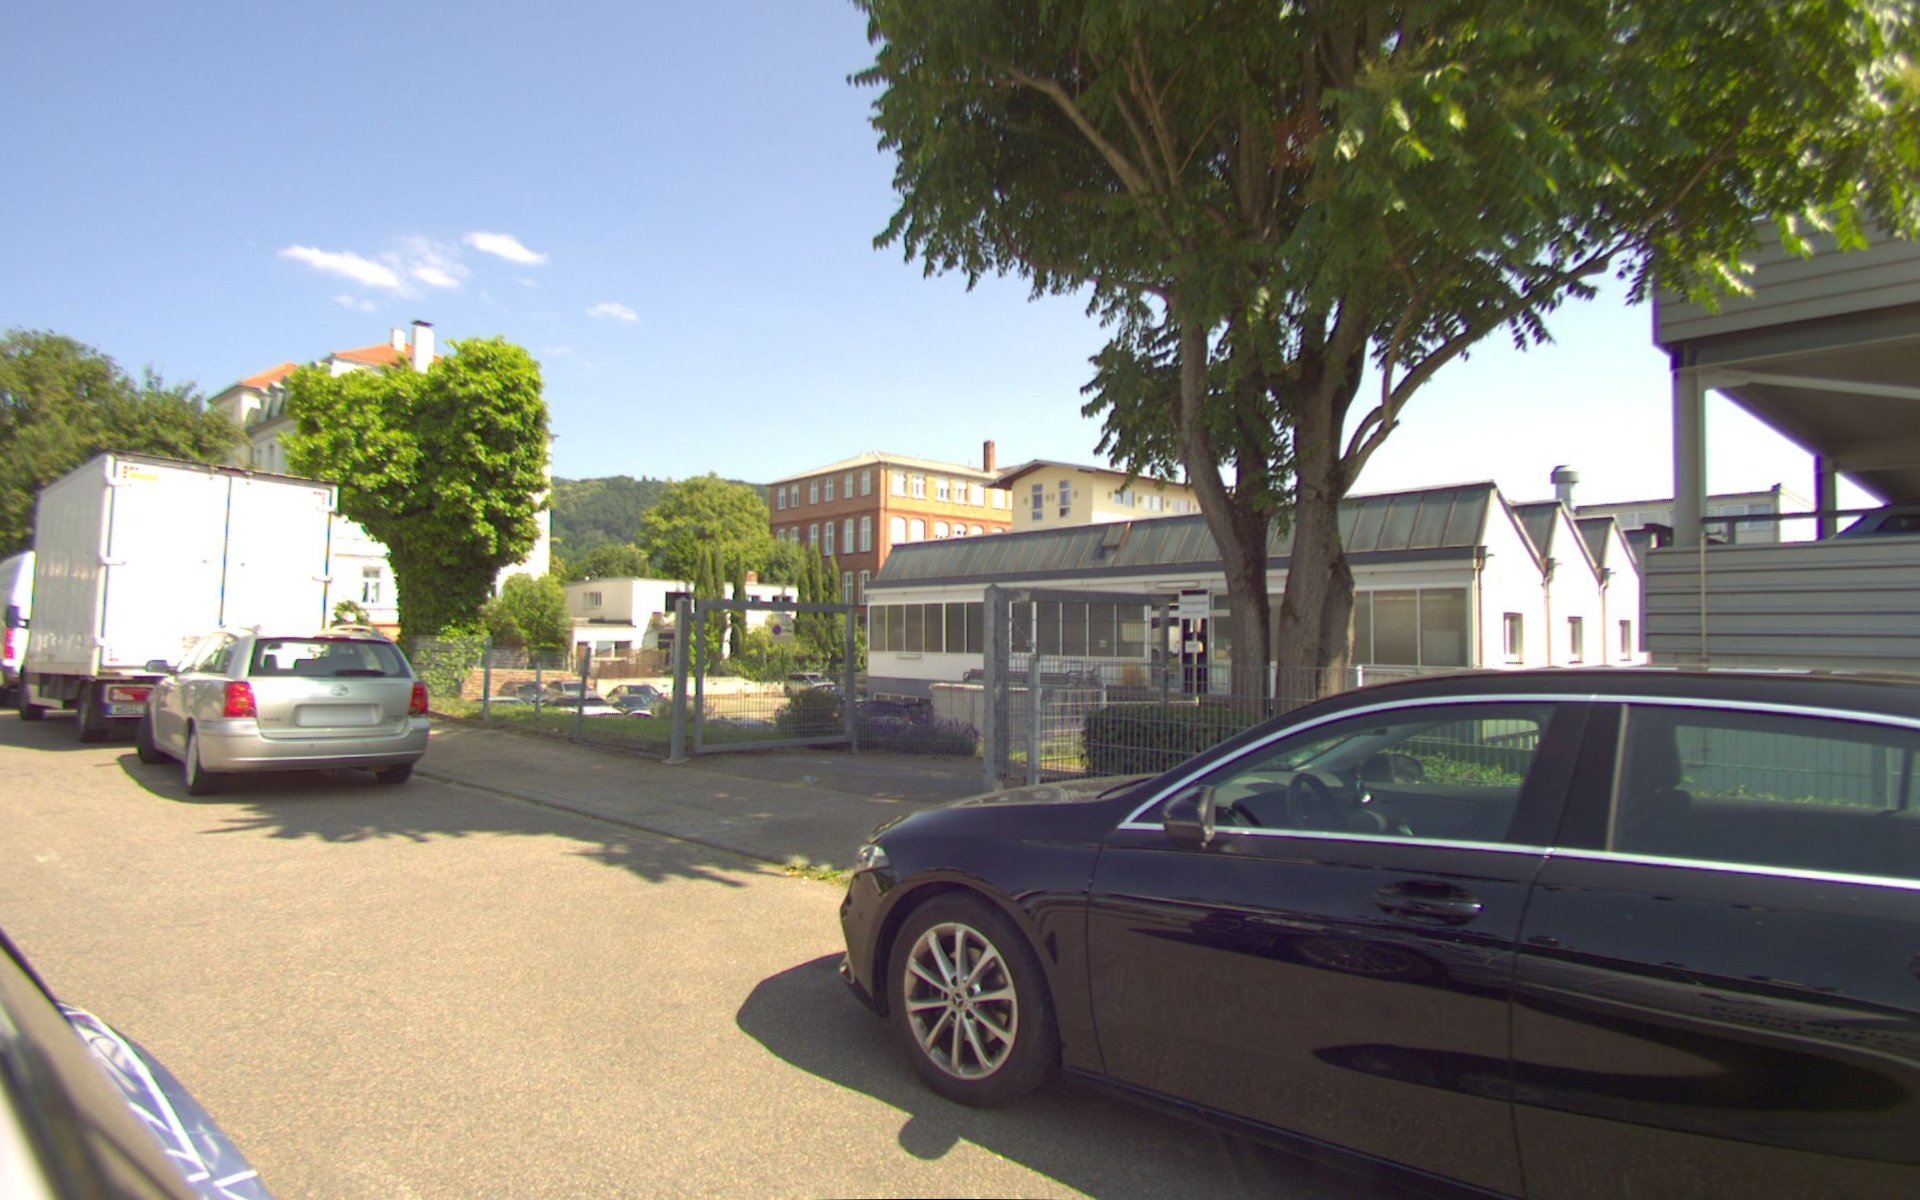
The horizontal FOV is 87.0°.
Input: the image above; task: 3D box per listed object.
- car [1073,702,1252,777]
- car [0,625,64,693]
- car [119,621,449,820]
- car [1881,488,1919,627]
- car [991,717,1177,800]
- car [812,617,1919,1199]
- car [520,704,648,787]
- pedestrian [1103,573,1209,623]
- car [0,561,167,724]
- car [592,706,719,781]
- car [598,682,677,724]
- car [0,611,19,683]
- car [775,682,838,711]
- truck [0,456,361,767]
[{"bbox_3d":[5.012,3.418,25.367,4.001,1.453,1.971,-2,-3,44],"label":"car"},{"bbox_3d":[-23.817,1.401,25.028,4.395,1.555,1.697,0,-4,39],"label":"car"},{"bbox_3d":[-6.754,1.024,9.914,4.310,1.533,1.722,-2,-5,43],"label":"car"},{"bbox_3d":[12.871,-0.488,10.887,1.787,1.684,4.012,1,0,-16],"label":"car"},{"bbox_3d":[2.873,3.651,23.913,4.001,1.453,1.971,-2,-3,44],"label":"car"},{"bbox_3d":[1.608,0.829,2.833,4.111,1.474,1.687,-1,-4,40],"label":"car"},{"bbox_3d":[-11.677,4.412,31.296,4.352,1.944,1.842,0,-1,41],"label":"car"},{"bbox_3d":[8.297,-0.076,42.968,3.997,2.029,1.973,0,-1,41],"label":"pedestrian"},{"bbox_3d":[-17.398,0.767,19.339,6.916,2.616,2.146,-1,-4,41],"label":"car"},{"bbox_3d":[-10.014,4.607,33.139,4.414,1.865,1.899,0,-1,41],"label":"car"},{"bbox_3d":[-15.194,4.802,47.593,1.970,1.697,4.004,5,-4,-43],"label":"car"},{"bbox_3d":[-29.291,1.308,29.625,5.053,2.029,1.951,-1,-4,41],"label":"car"},{"bbox_3d":[-9.977,6.209,65.593,1.794,1.690,4.609,5,-6,-41],"label":"car"},{"bbox_3d":[-11.378,0.205,14.333,7.124,3.392,2.658,-1,-3,40],"label":"truck"}]
